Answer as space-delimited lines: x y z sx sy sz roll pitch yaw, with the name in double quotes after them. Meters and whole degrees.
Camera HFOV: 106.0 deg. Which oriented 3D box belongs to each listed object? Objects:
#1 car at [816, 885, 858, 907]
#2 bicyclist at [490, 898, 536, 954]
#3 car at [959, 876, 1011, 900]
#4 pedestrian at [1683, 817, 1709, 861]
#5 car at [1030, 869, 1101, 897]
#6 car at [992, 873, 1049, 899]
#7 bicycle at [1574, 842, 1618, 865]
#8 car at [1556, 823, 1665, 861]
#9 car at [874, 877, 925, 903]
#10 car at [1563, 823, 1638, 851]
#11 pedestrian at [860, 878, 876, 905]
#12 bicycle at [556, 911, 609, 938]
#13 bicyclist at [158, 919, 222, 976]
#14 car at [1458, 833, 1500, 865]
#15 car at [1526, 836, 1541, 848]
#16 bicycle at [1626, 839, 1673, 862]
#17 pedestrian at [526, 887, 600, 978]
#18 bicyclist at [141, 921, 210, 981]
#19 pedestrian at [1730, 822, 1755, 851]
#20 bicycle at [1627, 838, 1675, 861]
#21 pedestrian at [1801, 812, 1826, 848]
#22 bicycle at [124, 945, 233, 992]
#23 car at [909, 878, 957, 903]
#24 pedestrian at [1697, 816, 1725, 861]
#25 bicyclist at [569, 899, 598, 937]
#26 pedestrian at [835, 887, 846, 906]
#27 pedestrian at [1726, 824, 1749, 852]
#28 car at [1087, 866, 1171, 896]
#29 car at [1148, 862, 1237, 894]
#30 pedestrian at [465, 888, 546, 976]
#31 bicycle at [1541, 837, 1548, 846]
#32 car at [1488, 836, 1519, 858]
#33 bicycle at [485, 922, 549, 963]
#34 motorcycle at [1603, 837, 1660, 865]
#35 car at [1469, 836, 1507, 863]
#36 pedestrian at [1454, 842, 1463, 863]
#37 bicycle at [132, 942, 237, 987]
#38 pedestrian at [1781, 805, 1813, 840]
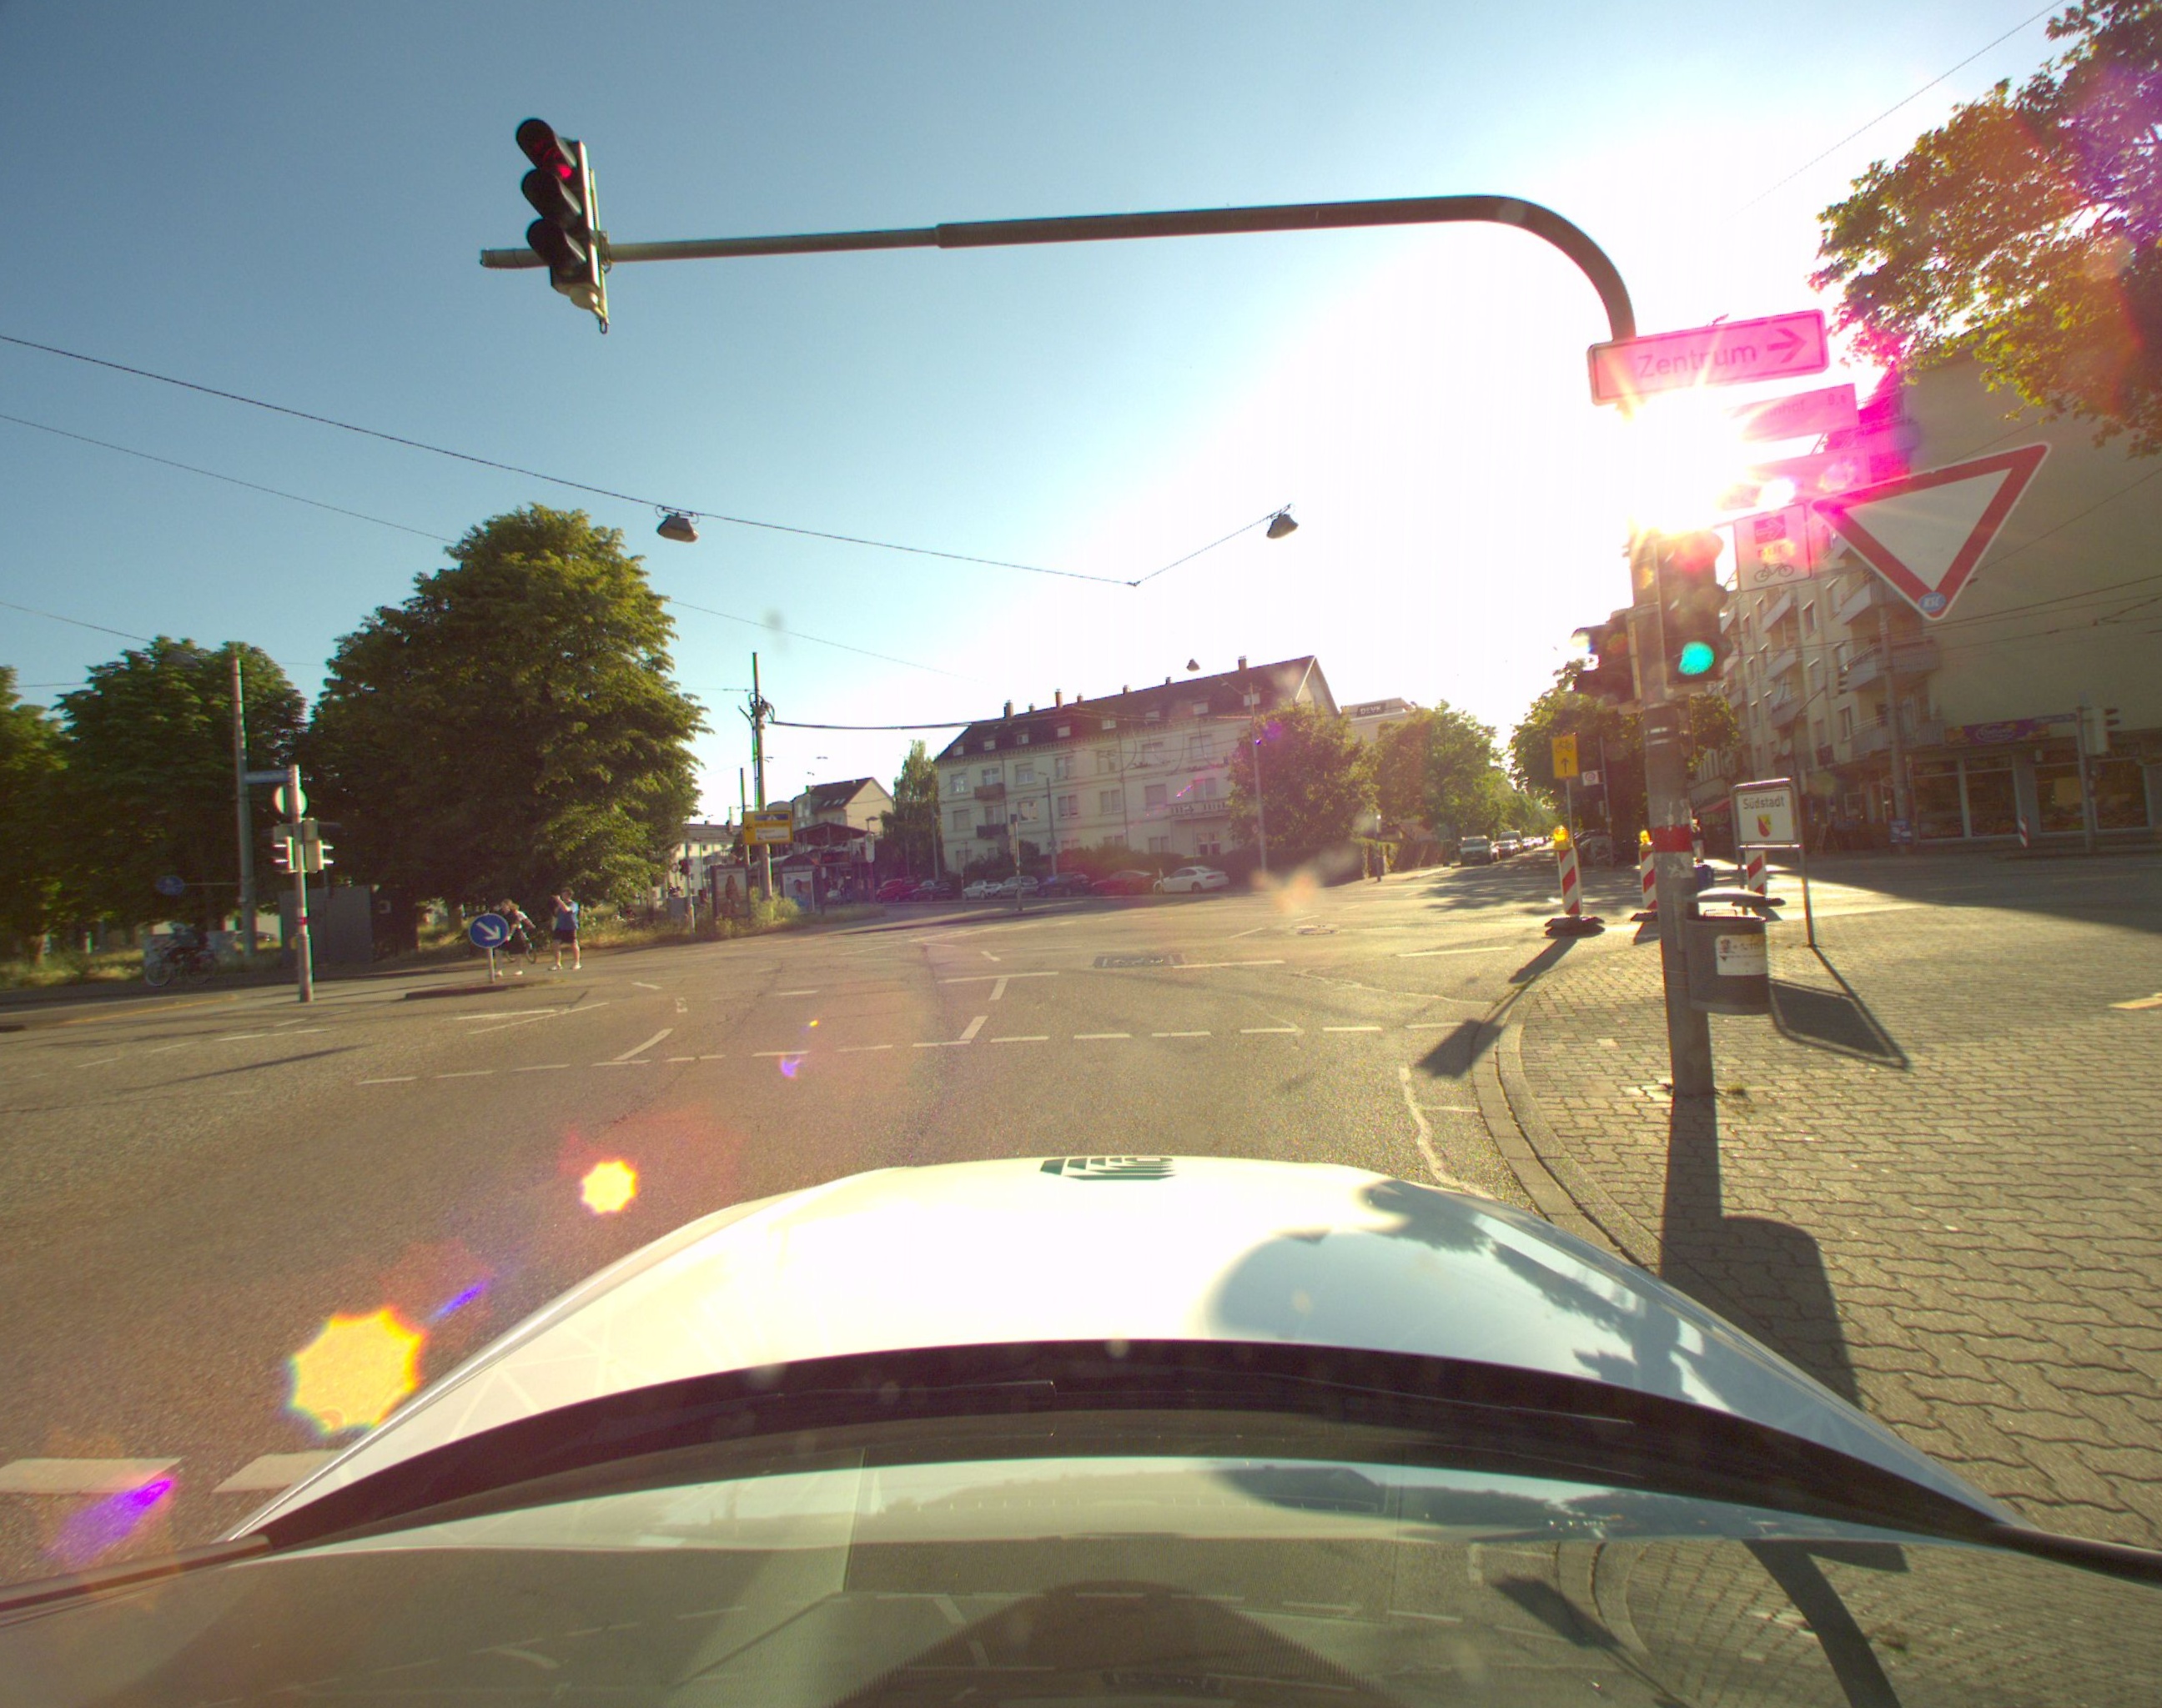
-24.398 4.217 81.358 2.067 1.961 5.090 -6 0 -39 "car"
-17.340 2.201 24.872 1.028 1.629 0.718 -5 -2 30 "bicyclist"
-7.012 2.511 59.208 1.855 1.447 3.912 -6 0 -39 "car"
25.461 -0.635 33.726 0.684 1.750 0.800 -5 -2 42 "pedestrian"
-1.054 1.907 52.370 1.998 1.447 4.650 -6 0 -39 "car"
-4.148 2.202 55.667 1.998 1.447 3.675 -6 0 -39 "car"
24.618 -0.025 38.940 1.707 0.932 0.676 -5 -2 30 "bicycle"
33.882 -0.719 52.348 5.567 1.924 2.376 -5 -3 28 "car"
-15.691 3.135 70.237 2.067 1.961 5.090 -6 0 -39 "car"
44.221 -1.421 69.485 5.042 1.924 2.376 -5 -3 28 "car"
-16.613 2.950 63.495 0.928 2.014 0.760 -3 -2 -34 "pedestrian"
-23.246 3.270 38.002 0.655 1.069 2.031 -5 -1 27 "bicycle"
-26.234 2.746 23.991 1.035 1.532 0.658 -4 -1 -12 "bicyclist"
27.988 -0.362 57.209 2.332 2.014 5.342 -5 -1 28 "car"
70.219 -1.799 126.330 1.974 1.689 4.024 -1 -1 29 "car"
26.573 -0.162 38.077 1.707 0.932 0.565 -5 -2 30 "bicycle"
-11.755 1.752 18.522 0.909 1.925 1.067 -4 -1 -1 "pedestrian"
-25.519 2.721 22.976 1.035 1.532 0.695 -4 -1 -12 "bicyclist"
33.069 -0.863 40.708 0.803 1.362 0.920 -5 -2 36 "pedestrian"
26.178 -0.219 37.411 1.707 0.932 0.565 -5 -2 30 "bicycle"
33.689 -1.083 37.473 0.612 1.591 0.480 -4 -1 14 "pedestrian"
-25.432 3.219 22.977 2.014 1.069 0.661 -4 -1 -13 "bicycle"
-11.866 2.920 65.127 1.855 1.668 4.319 -6 0 -39 "car"
25.813 -0.626 33.361 0.684 1.750 0.846 -5 -2 31 "pedestrian"
-23.256 2.980 38.071 0.662 1.652 0.892 -5 -1 26 "bicyclist"
-19.037 3.363 64.447 0.569 1.500 0.672 -3 -2 -27 "pedestrian"
33.741 -0.842 41.865 0.803 1.362 0.920 -5 -2 36 "pedestrian"
2.766 1.604 47.794 1.999 1.376 4.647 -6 0 -44 "car"
5.936 1.291 43.746 1.941 1.376 4.443 -6 0 -41 "car"
-12.456 1.662 17.652 0.909 1.747 1.067 -4 -1 -1 "pedestrian"
68.751 -1.859 120.779 0.758 1.324 1.936 -5 -1 31 "bicycle"
39.220 -0.639 75.498 2.332 1.795 5.342 -5 -1 28 "car"
-17.271 2.710 24.923 2.173 1.142 0.705 -5 -1 30 "bicycle"
24.680 -0.135 36.548 1.934 1.109 0.842 -5 -2 25 "motorcycle"
31.264 -0.382 62.532 2.332 1.795 5.342 -5 -1 28 "car"
31.058 -0.115 66.946 0.573 1.731 0.612 -4 -2 25 "pedestrian"
-26.343 3.225 23.962 2.014 1.069 0.661 -4 -1 -12 "bicycle"
33.783 -1.484 38.456 0.804 1.545 0.919 -5 -2 25 "pedestrian"
